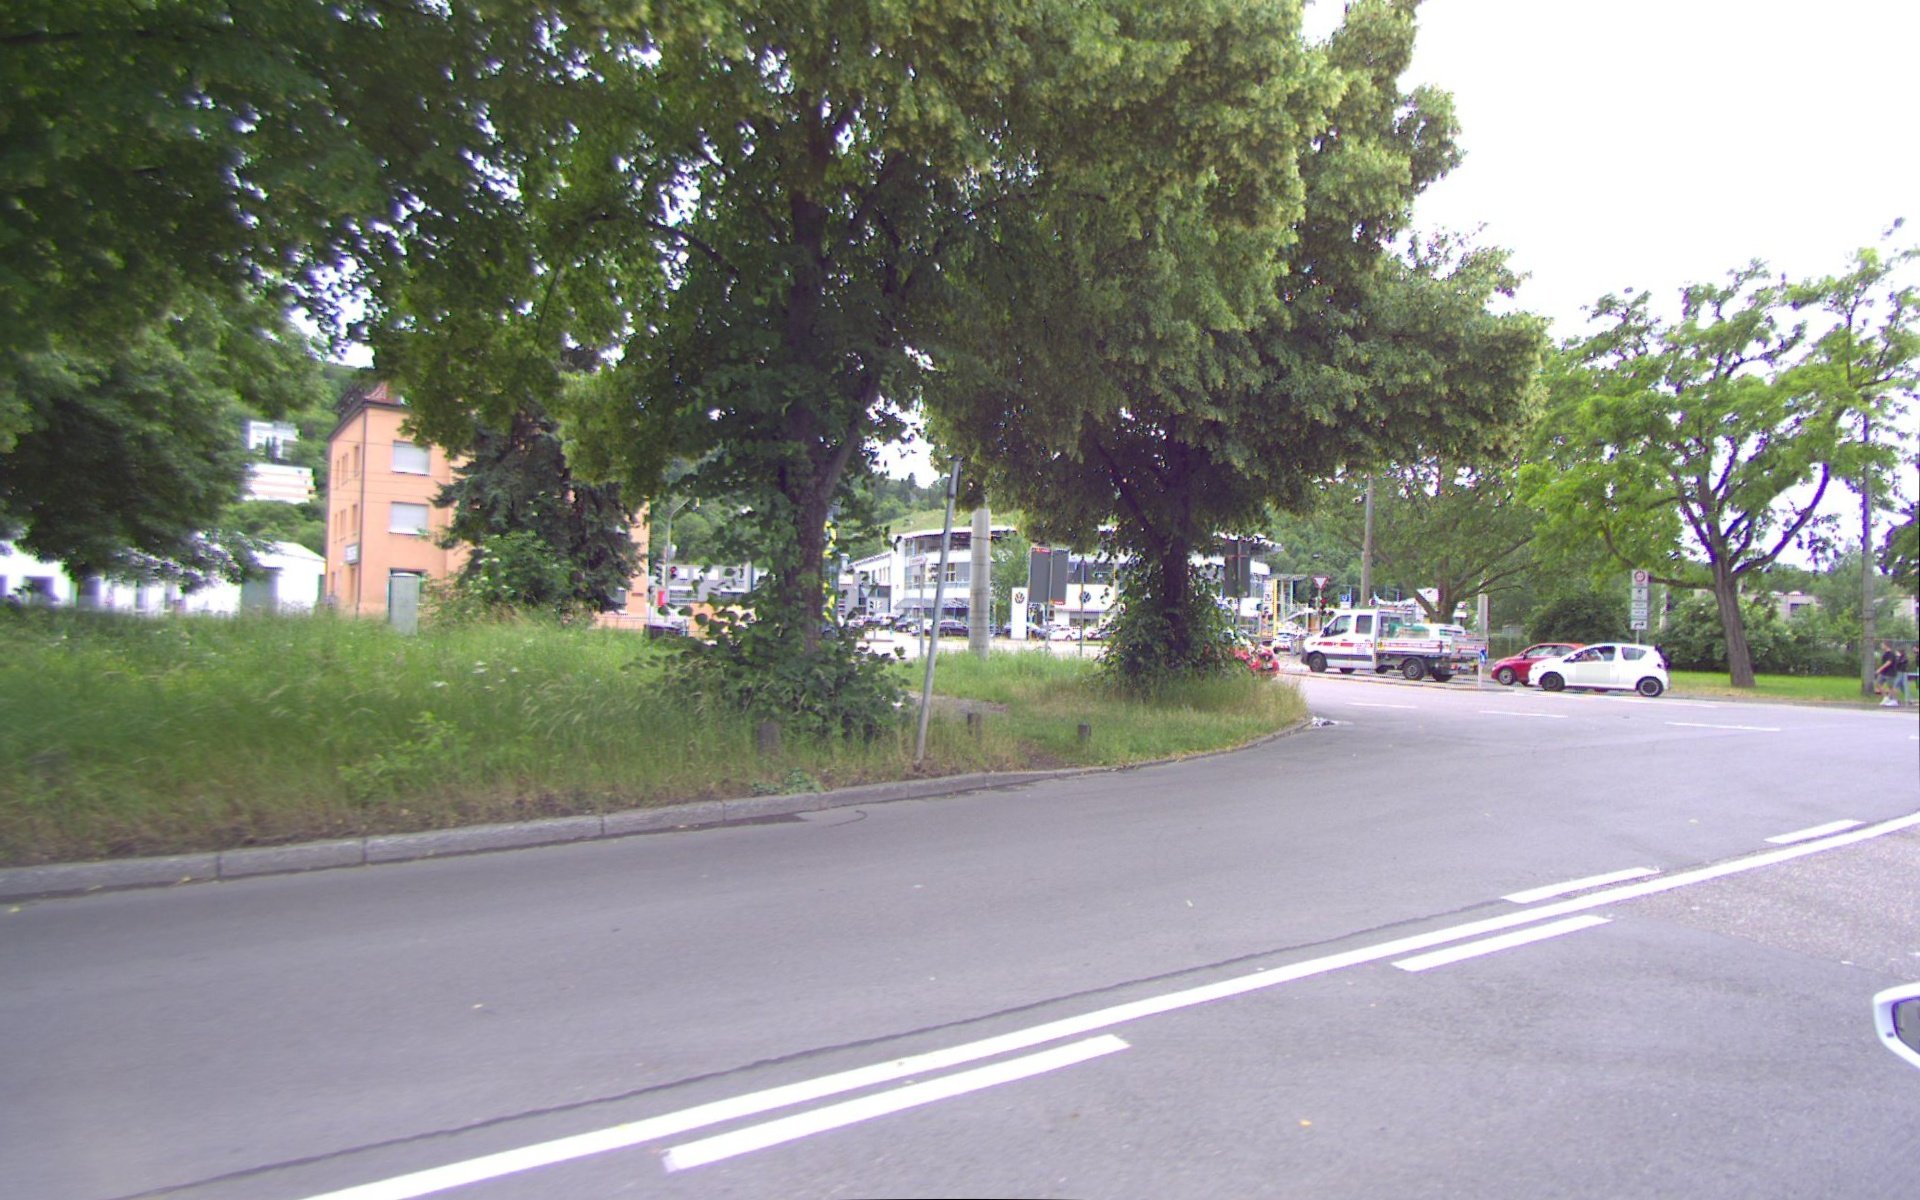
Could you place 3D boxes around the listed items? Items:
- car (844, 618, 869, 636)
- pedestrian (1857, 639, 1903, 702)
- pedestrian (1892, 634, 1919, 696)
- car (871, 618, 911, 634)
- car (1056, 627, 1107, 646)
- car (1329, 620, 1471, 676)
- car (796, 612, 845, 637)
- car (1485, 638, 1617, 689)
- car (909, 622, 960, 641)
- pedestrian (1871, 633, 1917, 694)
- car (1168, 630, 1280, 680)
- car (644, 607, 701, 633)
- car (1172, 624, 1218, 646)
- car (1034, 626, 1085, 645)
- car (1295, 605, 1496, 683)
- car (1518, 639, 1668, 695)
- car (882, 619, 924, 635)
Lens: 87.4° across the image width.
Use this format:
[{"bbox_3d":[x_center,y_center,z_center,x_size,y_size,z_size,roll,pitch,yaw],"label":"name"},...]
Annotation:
[{"bbox_3d":[-10.308,2.656,99.560,1.965,1.714,4.492,1,-1,-13],"label":"car"},{"bbox_3d":[26.652,2.031,29.107,0.713,1.765,0.744,1,-1,14],"label":"pedestrian"},{"bbox_3d":[27.631,1.863,29.036,0.713,1.765,0.744,1,-1,14],"label":"pedestrian"},{"bbox_3d":[-8.143,3.069,118.673,4.425,1.714,1.995,1,-1,-13],"label":"car"},{"bbox_3d":[11.588,3.429,95.629,4.433,1.714,1.992,0,-2,39],"label":"car"},{"bbox_3d":[16.541,1.755,38.063,2.018,1.967,4.970,1,-1,-21],"label":"car"},{"bbox_3d":[-13.212,2.301,95.176,4.426,2.234,1.995,1,-1,-13],"label":"car"},{"bbox_3d":[19.241,2.029,32.812,1.625,1.497,3.371,2,-2,-35],"label":"car"},{"bbox_3d":[-2.399,2.929,93.138,4.425,1.714,1.995,1,-1,-13],"label":"car"},{"bbox_3d":[27.715,1.876,29.822,0.713,1.765,0.744,1,-1,14],"label":"pedestrian"},{"bbox_3d":[7.828,1.596,29.796,2.835,1.367,1.556,0,-2,39],"label":"car"},{"bbox_3d":[-25.876,1.832,90.411,2.232,2.234,4.487,0,-2,36],"label":"car"},{"bbox_3d":[25.546,3.807,109.332,4.433,2.248,1.992,0,-2,39],"label":"car"},{"bbox_3d":[9.357,3.350,94.595,4.433,1.714,1.992,0,-2,39],"label":"car"},{"bbox_3d":[14.679,1.434,34.319,2.369,2.419,6.036,2,-2,-33],"label":"car"},{"bbox_3d":[18.166,1.885,28.852,3.557,1.428,1.736,0,-2,36],"label":"car"},{"bbox_3d":[-6.359,3.034,111.407,4.425,1.714,1.995,1,-1,-13],"label":"car"}]
